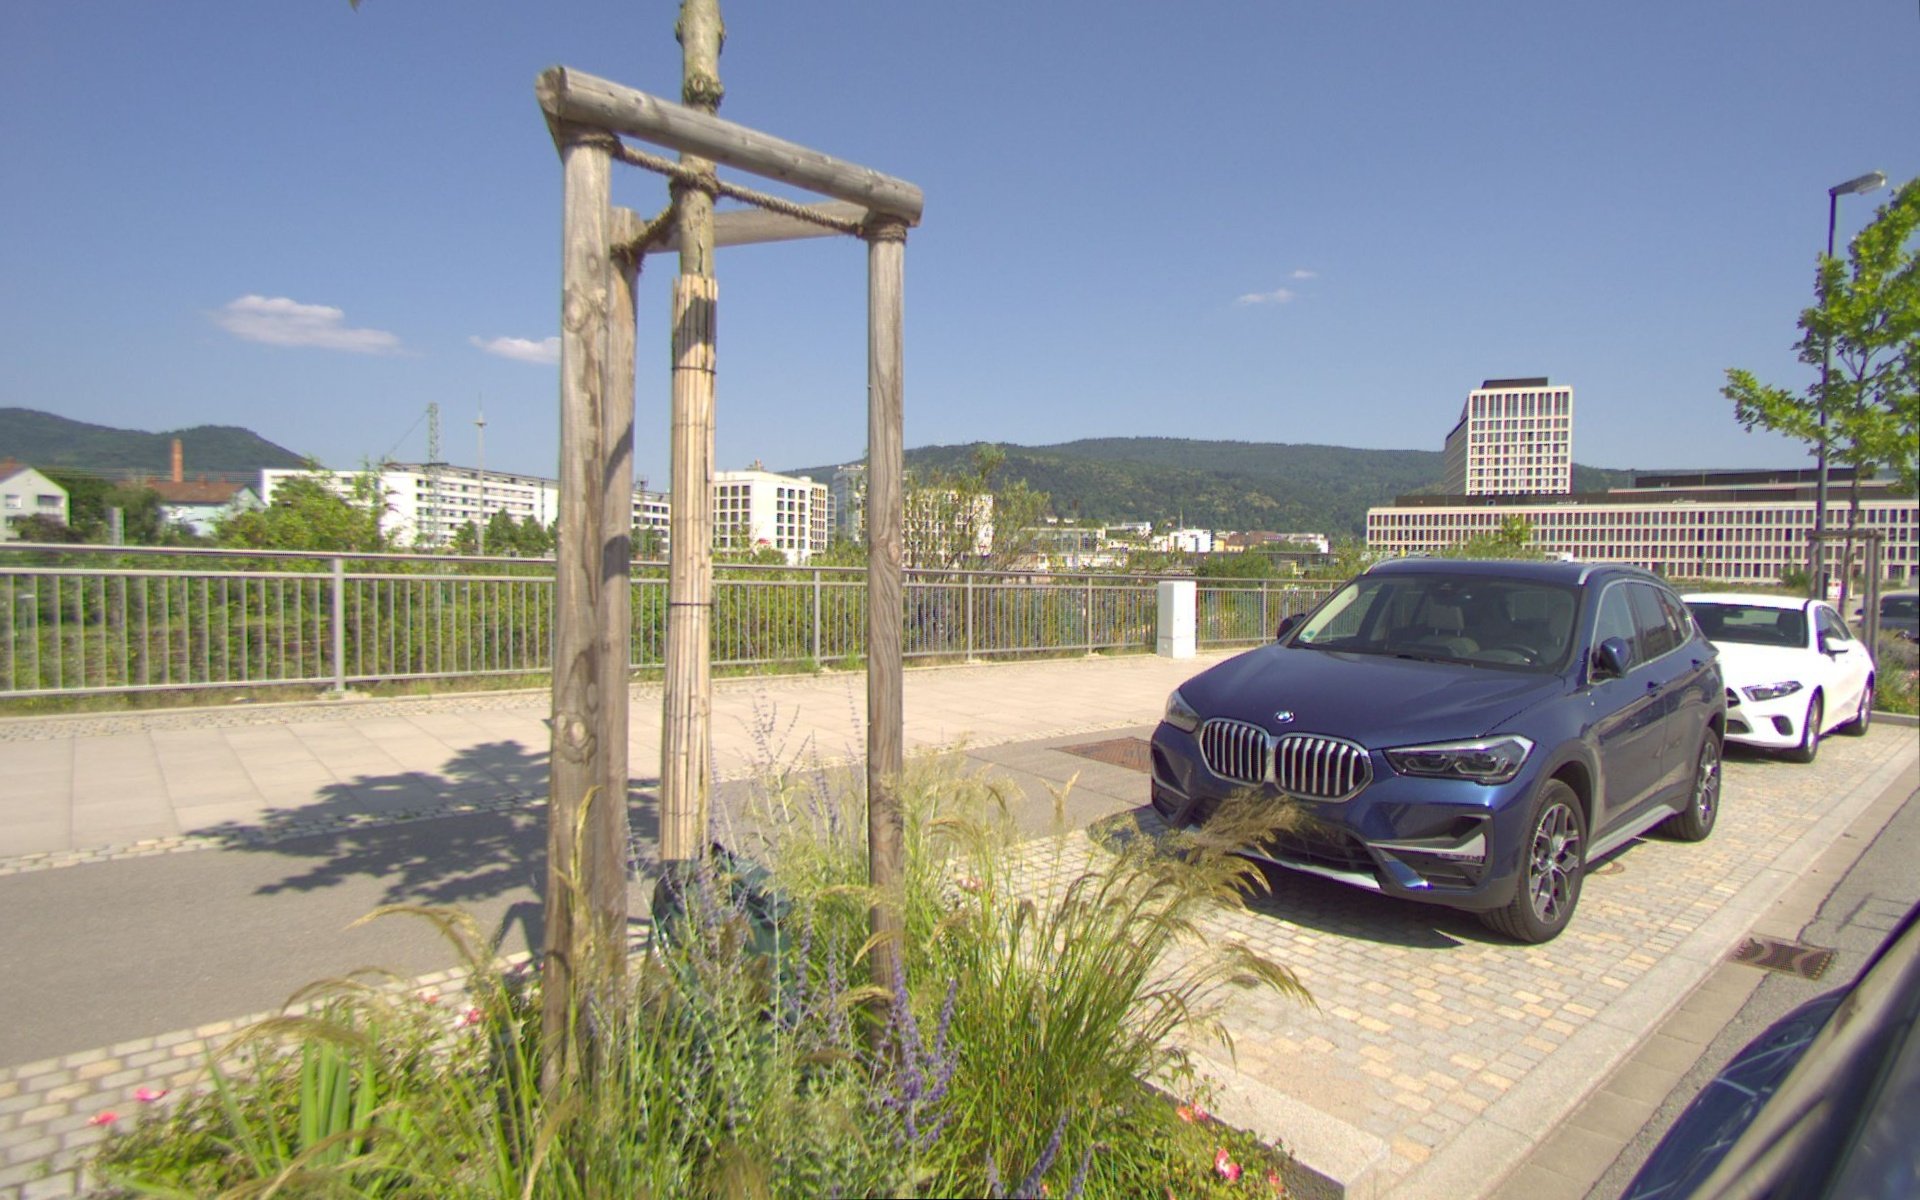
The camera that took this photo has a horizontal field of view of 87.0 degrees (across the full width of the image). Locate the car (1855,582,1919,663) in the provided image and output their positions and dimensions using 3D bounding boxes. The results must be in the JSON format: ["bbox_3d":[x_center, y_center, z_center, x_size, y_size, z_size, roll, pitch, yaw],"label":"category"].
[{"bbox_3d":[19.335,0.426,20.097,3.849,1.449,1.808,-1,5,-41],"label":"car"}]

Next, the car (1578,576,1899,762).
[{"bbox_3d":[7.946,0.514,10.180,4.197,1.390,1.710,-1,5,-41],"label":"car"}]

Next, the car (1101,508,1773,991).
[{"bbox_3d":[2.871,0.448,5.619,4.197,1.703,1.807,-1,4,-41],"label":"car"}]
